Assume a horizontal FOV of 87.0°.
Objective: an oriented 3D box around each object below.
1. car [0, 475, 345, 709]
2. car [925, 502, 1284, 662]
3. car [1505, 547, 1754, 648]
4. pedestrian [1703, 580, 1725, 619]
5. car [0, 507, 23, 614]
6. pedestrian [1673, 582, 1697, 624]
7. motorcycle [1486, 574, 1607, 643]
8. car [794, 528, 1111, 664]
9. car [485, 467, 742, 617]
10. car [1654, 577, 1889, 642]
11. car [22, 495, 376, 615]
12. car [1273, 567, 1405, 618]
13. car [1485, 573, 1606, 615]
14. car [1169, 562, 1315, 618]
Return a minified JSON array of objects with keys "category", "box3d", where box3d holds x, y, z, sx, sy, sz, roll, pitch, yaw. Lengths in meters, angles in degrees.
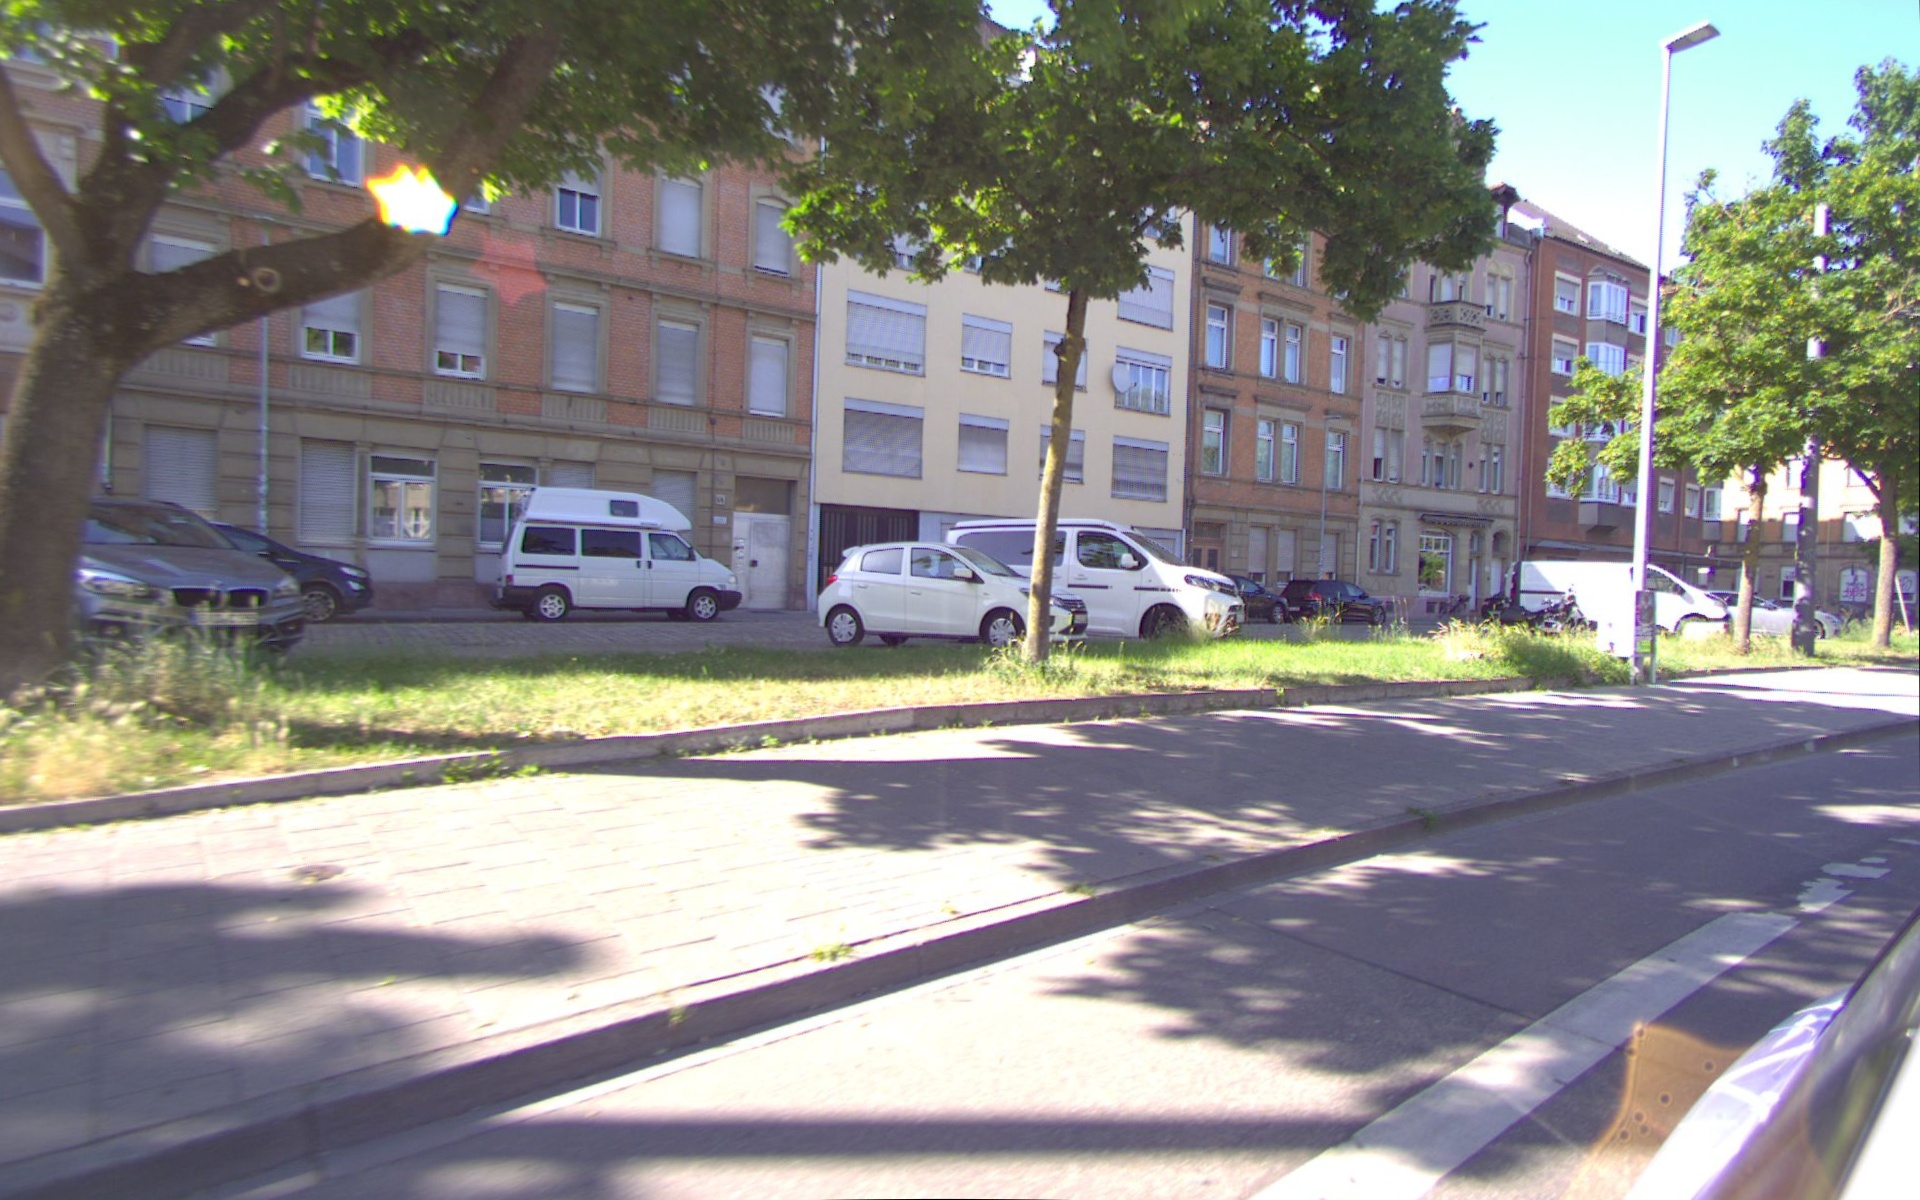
[{"category":"car","box3d":[-8.127,-0.244,9.588,4.474,1.748,1.980,5,4,29]},{"category":"car","box3d":[2.202,-0.393,15.945,5.143,2.037,2.080,5,4,29]},{"category":"car","box3d":[16.673,-0.129,25.565,4.828,2.100,2.005,5,3,24]},{"category":"pedestrian","box3d":[34.968,-0.034,46.925,0.629,1.782,0.594,1,1,-31]},{"category":"car","box3d":[-16.202,-0.664,14.059,4.428,1.547,2.001,1,3,-36]},{"category":"pedestrian","box3d":[31.264,0.120,43.647,0.603,1.780,0.572,1,2,-29]},{"category":"motorcycle","box3d":[13.838,0.183,23.950,2.225,1.438,0.853,4,2,9]},{"category":"car","box3d":[-0.110,-0.145,14.052,3.989,1.496,1.798,5,4,25]},{"category":"car","box3d":[-6.858,-1.089,20.114,4.423,2.616,2.003,2,3,-31]},{"category":"car","box3d":[23.186,0.210,29.189,4.832,1.452,2.003,5,3,26]},{"category":"car","box3d":[-12.220,-0.676,16.687,4.423,1.712,2.002,1,2,-32]},{"category":"car","box3d":[12.298,-0.244,32.776,4.208,1.438,1.736,2,2,-32]},{"category":"car","box3d":[22.126,-0.216,38.231,4.399,1.493,2.002,0,0,-29]},{"category":"car","box3d":[8.437,-0.283,30.241,4.082,1.438,1.887,2,3,-32]}]
